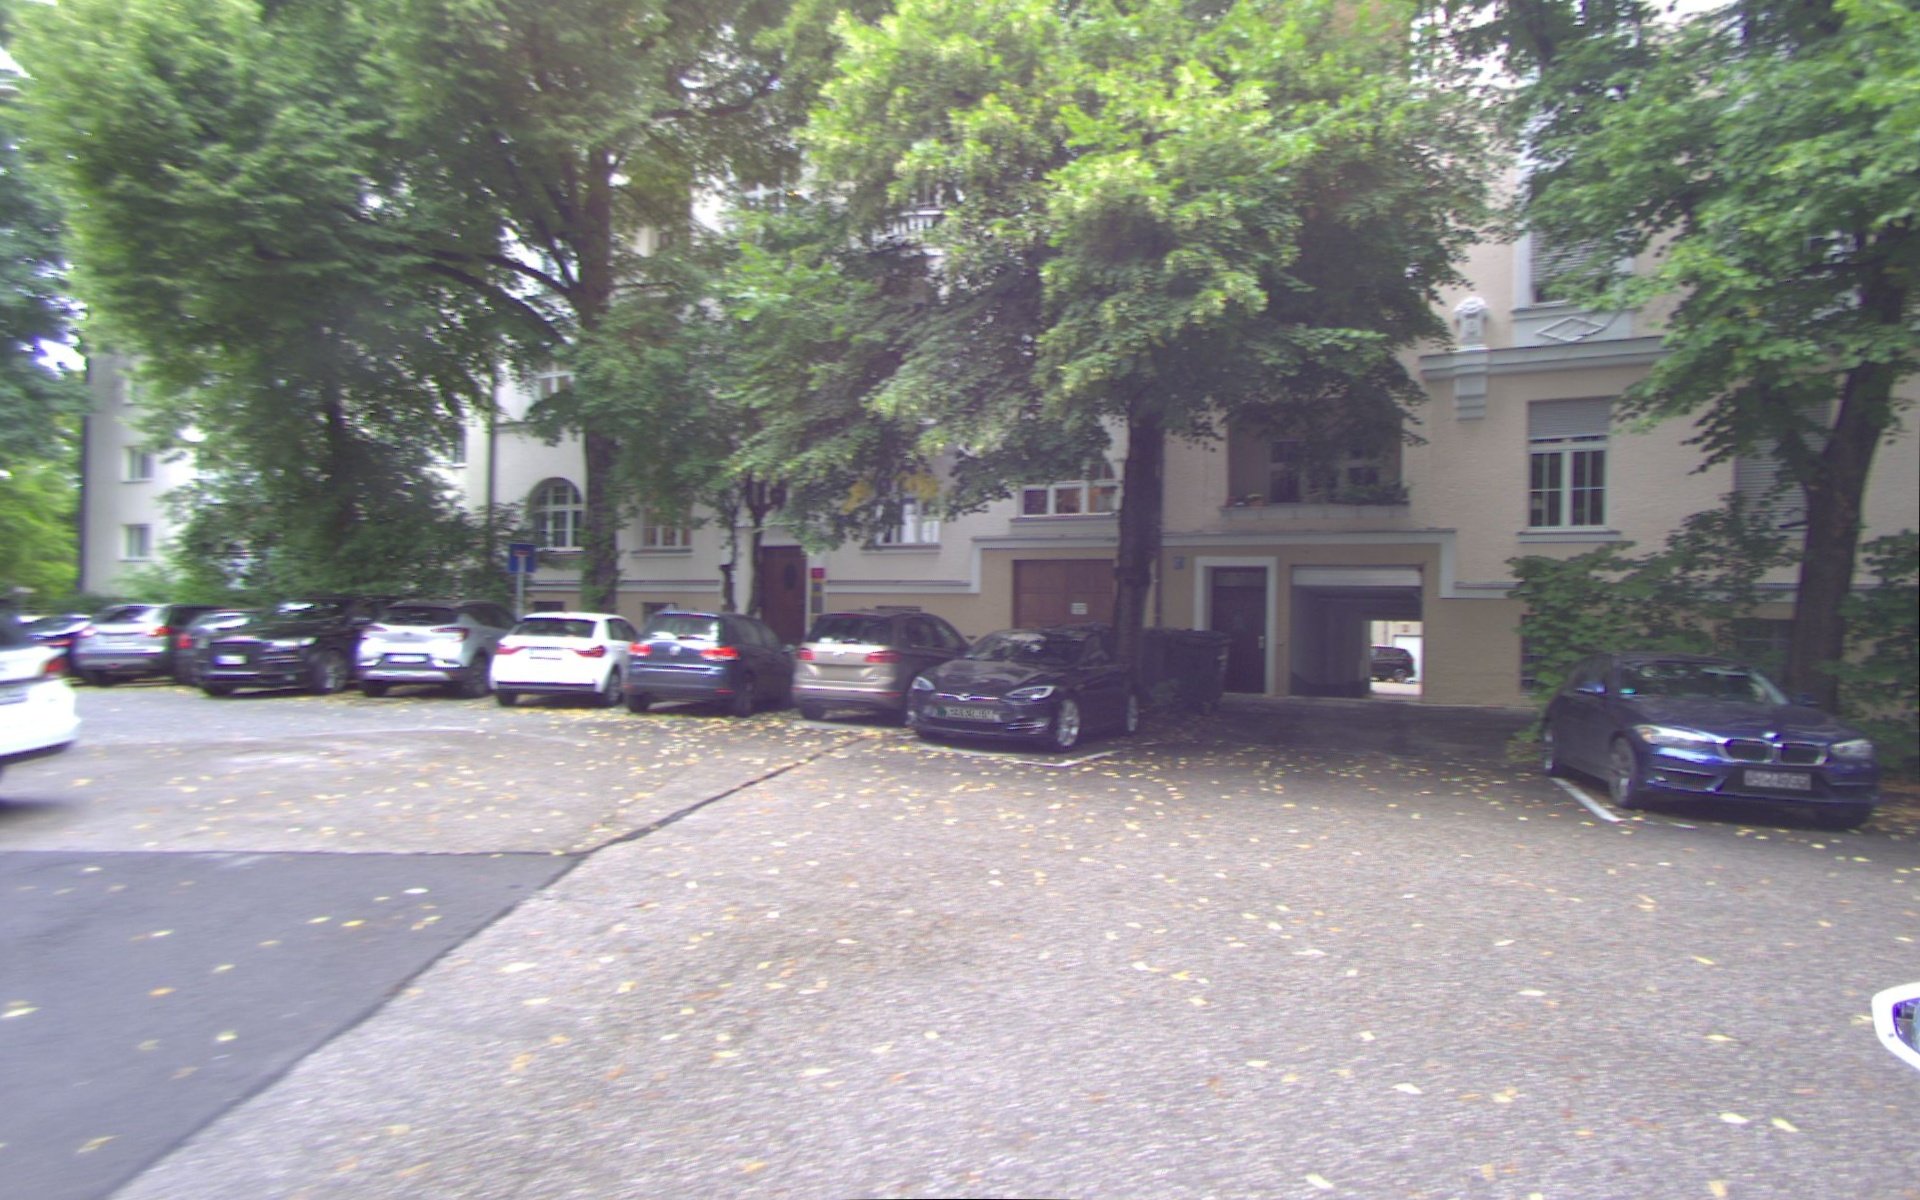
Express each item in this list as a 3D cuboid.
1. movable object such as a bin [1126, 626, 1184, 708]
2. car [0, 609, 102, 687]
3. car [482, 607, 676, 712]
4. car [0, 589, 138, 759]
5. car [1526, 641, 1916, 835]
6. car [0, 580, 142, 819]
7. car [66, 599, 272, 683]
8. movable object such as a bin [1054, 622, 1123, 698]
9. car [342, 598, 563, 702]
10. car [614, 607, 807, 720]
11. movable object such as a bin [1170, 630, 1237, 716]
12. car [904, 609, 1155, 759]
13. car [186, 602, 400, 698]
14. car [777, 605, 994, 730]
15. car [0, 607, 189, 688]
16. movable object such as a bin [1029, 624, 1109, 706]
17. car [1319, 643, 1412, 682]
[{"bbox_3d":[3.454,1.148,17.699,0.701,1.365,1.373,1,-1,23],"label":"movable object such as a bin"},{"bbox_3d":[-20.341,0.981,21.193,1.695,1.497,3.989,2,-1,-13],"label":"car"},{"bbox_3d":[-5.974,0.872,16.275,1.690,1.450,3.999,2,-1,-2],"label":"car"},{"bbox_3d":[-10.493,0.709,9.374,3.929,1.499,1.832,-1,-1,-11],"label":"car"},{"bbox_3d":[7.070,1.148,9.928,1.808,1.401,4.344,1,-2,19],"label":"car"},{"bbox_3d":[-8.025,0.674,6.430,3.925,1.499,1.834,-1,-1,-6],"label":"car"},{"bbox_3d":[-15.826,0.766,20.378,1.695,1.497,3.989,2,-1,-13],"label":"car"},{"bbox_3d":[2.472,1.130,19.285,1.099,1.366,0.864,2,0,21],"label":"movable object such as a bin"},{"bbox_3d":[-8.543,0.796,17.337,1.839,1.530,3.999,2,-1,-2],"label":"car"},{"bbox_3d":[-3.646,0.882,15.436,1.761,1.450,4.001,2,-1,2],"label":"car"},{"bbox_3d":[4.132,1.197,16.985,0.848,1.322,1.432,3,0,21],"label":"movable object such as a bin"},{"bbox_3d":[1.081,1.015,12.785,1.677,1.486,4.286,3,-2,25],"label":"car"},{"bbox_3d":[-11.178,0.788,17.189,2.031,1.420,3.983,2,-1,-19],"label":"car"},{"bbox_3d":[-0.932,0.912,14.991,1.808,1.550,4.026,2,-1,18],"label":"car"},{"bbox_3d":[-18.214,0.924,21.074,1.695,1.497,3.989,2,-1,-13],"label":"car"},{"bbox_3d":[1.975,1.139,18.115,1.131,1.366,1.156,2,0,21],"label":"movable object such as a bin"},{"bbox_3d":[18.420,2.818,45.745,3.780,1.538,1.657,2,-1,19],"label":"car"}]
